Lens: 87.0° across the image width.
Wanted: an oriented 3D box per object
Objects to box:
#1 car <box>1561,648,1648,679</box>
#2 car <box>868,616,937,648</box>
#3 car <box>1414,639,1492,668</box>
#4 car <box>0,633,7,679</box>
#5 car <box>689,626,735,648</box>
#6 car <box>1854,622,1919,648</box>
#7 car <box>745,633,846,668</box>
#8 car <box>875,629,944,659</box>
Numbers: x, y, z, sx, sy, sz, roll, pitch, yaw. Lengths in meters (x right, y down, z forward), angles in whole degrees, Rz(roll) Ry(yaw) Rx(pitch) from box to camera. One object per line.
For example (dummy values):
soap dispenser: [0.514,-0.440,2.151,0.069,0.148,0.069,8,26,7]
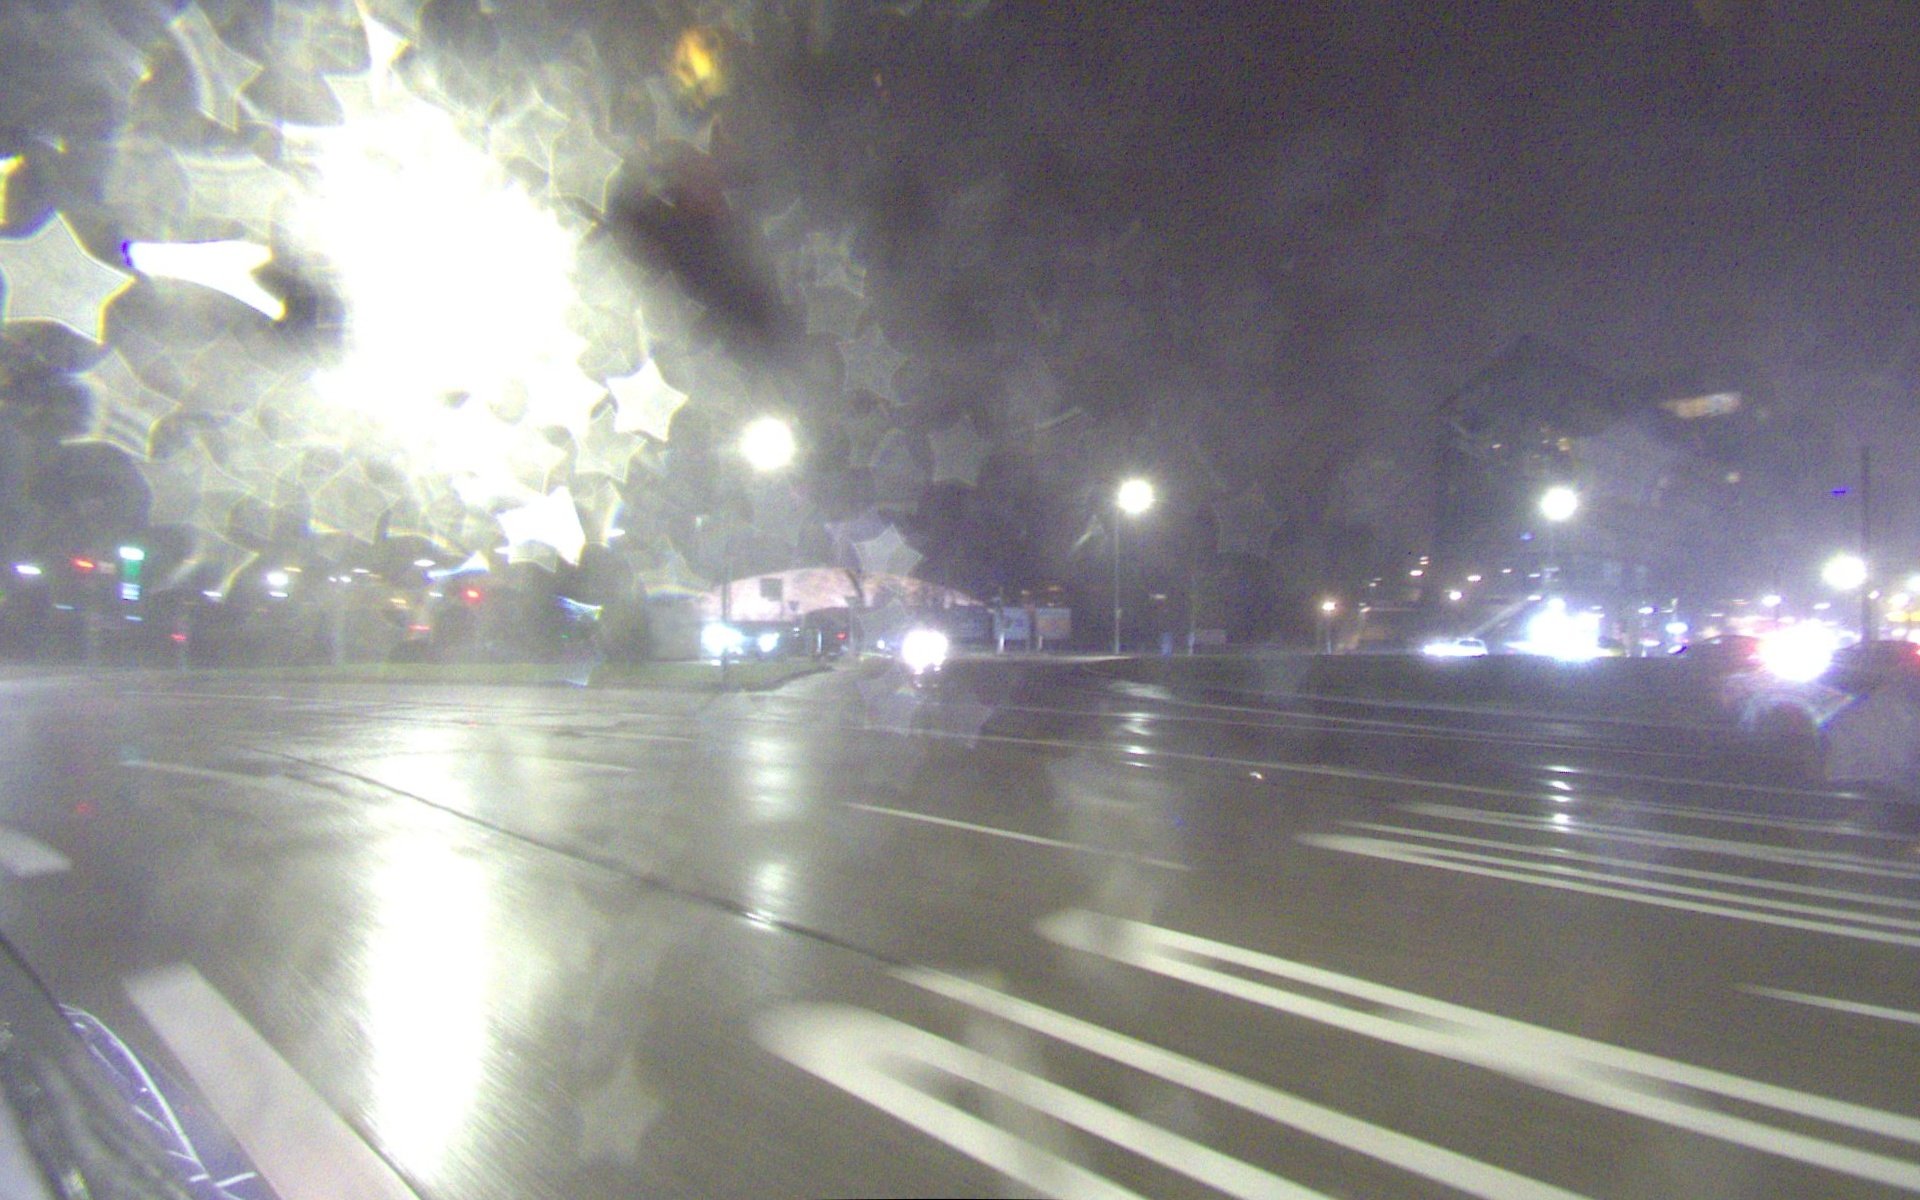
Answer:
car: [36.316,3.559,57.044,3.813,1.630,1.776,1,0,-6]
car: [-3.952,2.151,69.402,4.403,2.029,1.980,1,0,29]
car: [29.753,3.227,61.137,3.813,1.630,1.776,1,0,-6]
car: [-39.107,2.112,37.738,4.962,1.729,2.073,1,0,-7]
car: [-18.733,2.758,76.309,1.653,1.541,4.005,1,0,-42]
car: [56.257,2.072,60.426,3.970,1.455,1.829,1,0,7]
car: [-7.011,2.137,43.232,3.879,1.383,1.836,1,0,-28]
car: [-2.911,2.496,58.118,4.002,1.586,1.734,0,0,45]
